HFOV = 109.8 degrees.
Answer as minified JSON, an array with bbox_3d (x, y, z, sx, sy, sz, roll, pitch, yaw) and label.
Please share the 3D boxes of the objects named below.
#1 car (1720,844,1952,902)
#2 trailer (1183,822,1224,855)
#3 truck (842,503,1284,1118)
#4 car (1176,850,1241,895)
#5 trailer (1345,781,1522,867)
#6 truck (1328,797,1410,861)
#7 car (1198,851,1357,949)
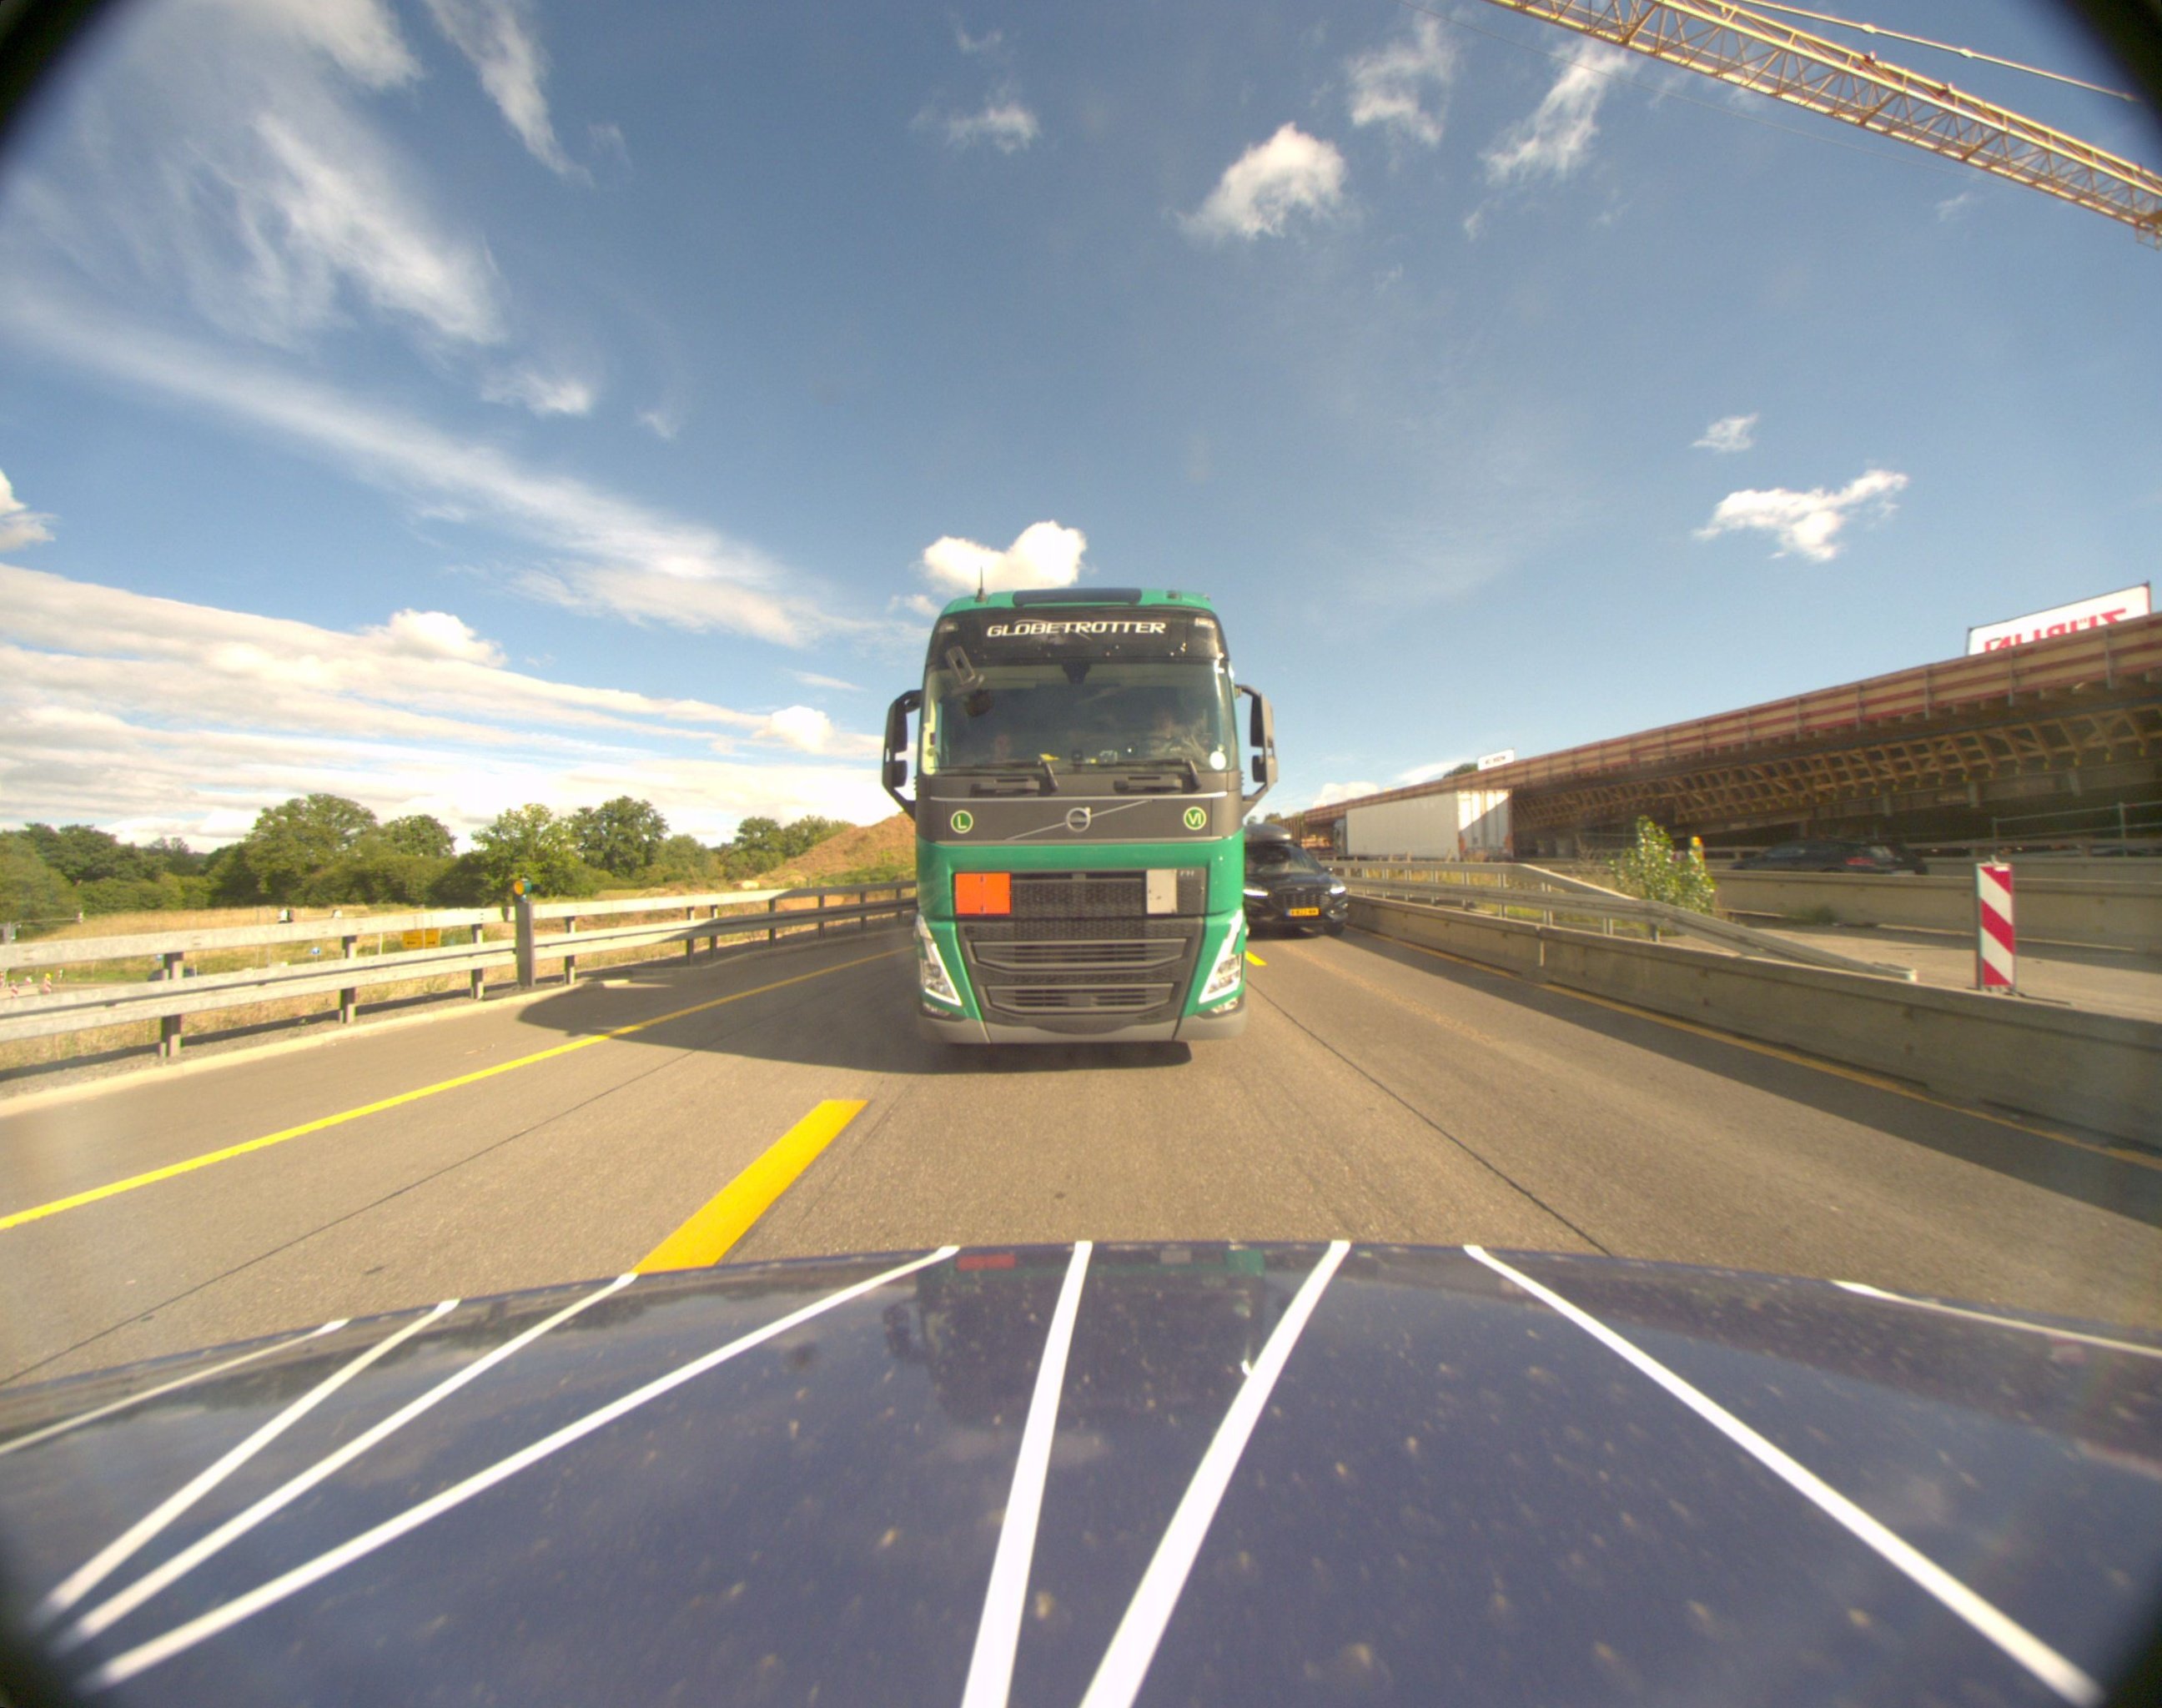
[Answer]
[{"bbox_3d":[18.990,0.406,19.418,1.925,1.265,3.999,-2,1,0],"label":"car"},{"bbox_3d":[16.582,-2.100,104.150,2.695,4.132,13.806,-2,1,-2],"label":"trailer"},{"bbox_3d":[-0.029,-0.330,10.019,2.663,3.825,10.316,-2,1,1],"label":"truck"},{"bbox_3d":[4.805,0.659,29.212,1.948,1.422,4.505,-3,1,4],"label":"car"},{"bbox_3d":[18.560,-1.469,41.701,2.828,3.819,13.798,-2,1,-2],"label":"trailer"},{"bbox_3d":[18.322,-1.532,48.751,2.784,3.767,6.016,-2,1,-1],"label":"truck"},{"bbox_3d":[3.555,0.748,14.618,1.804,1.533,4.383,-2,1,-1],"label":"car"}]
